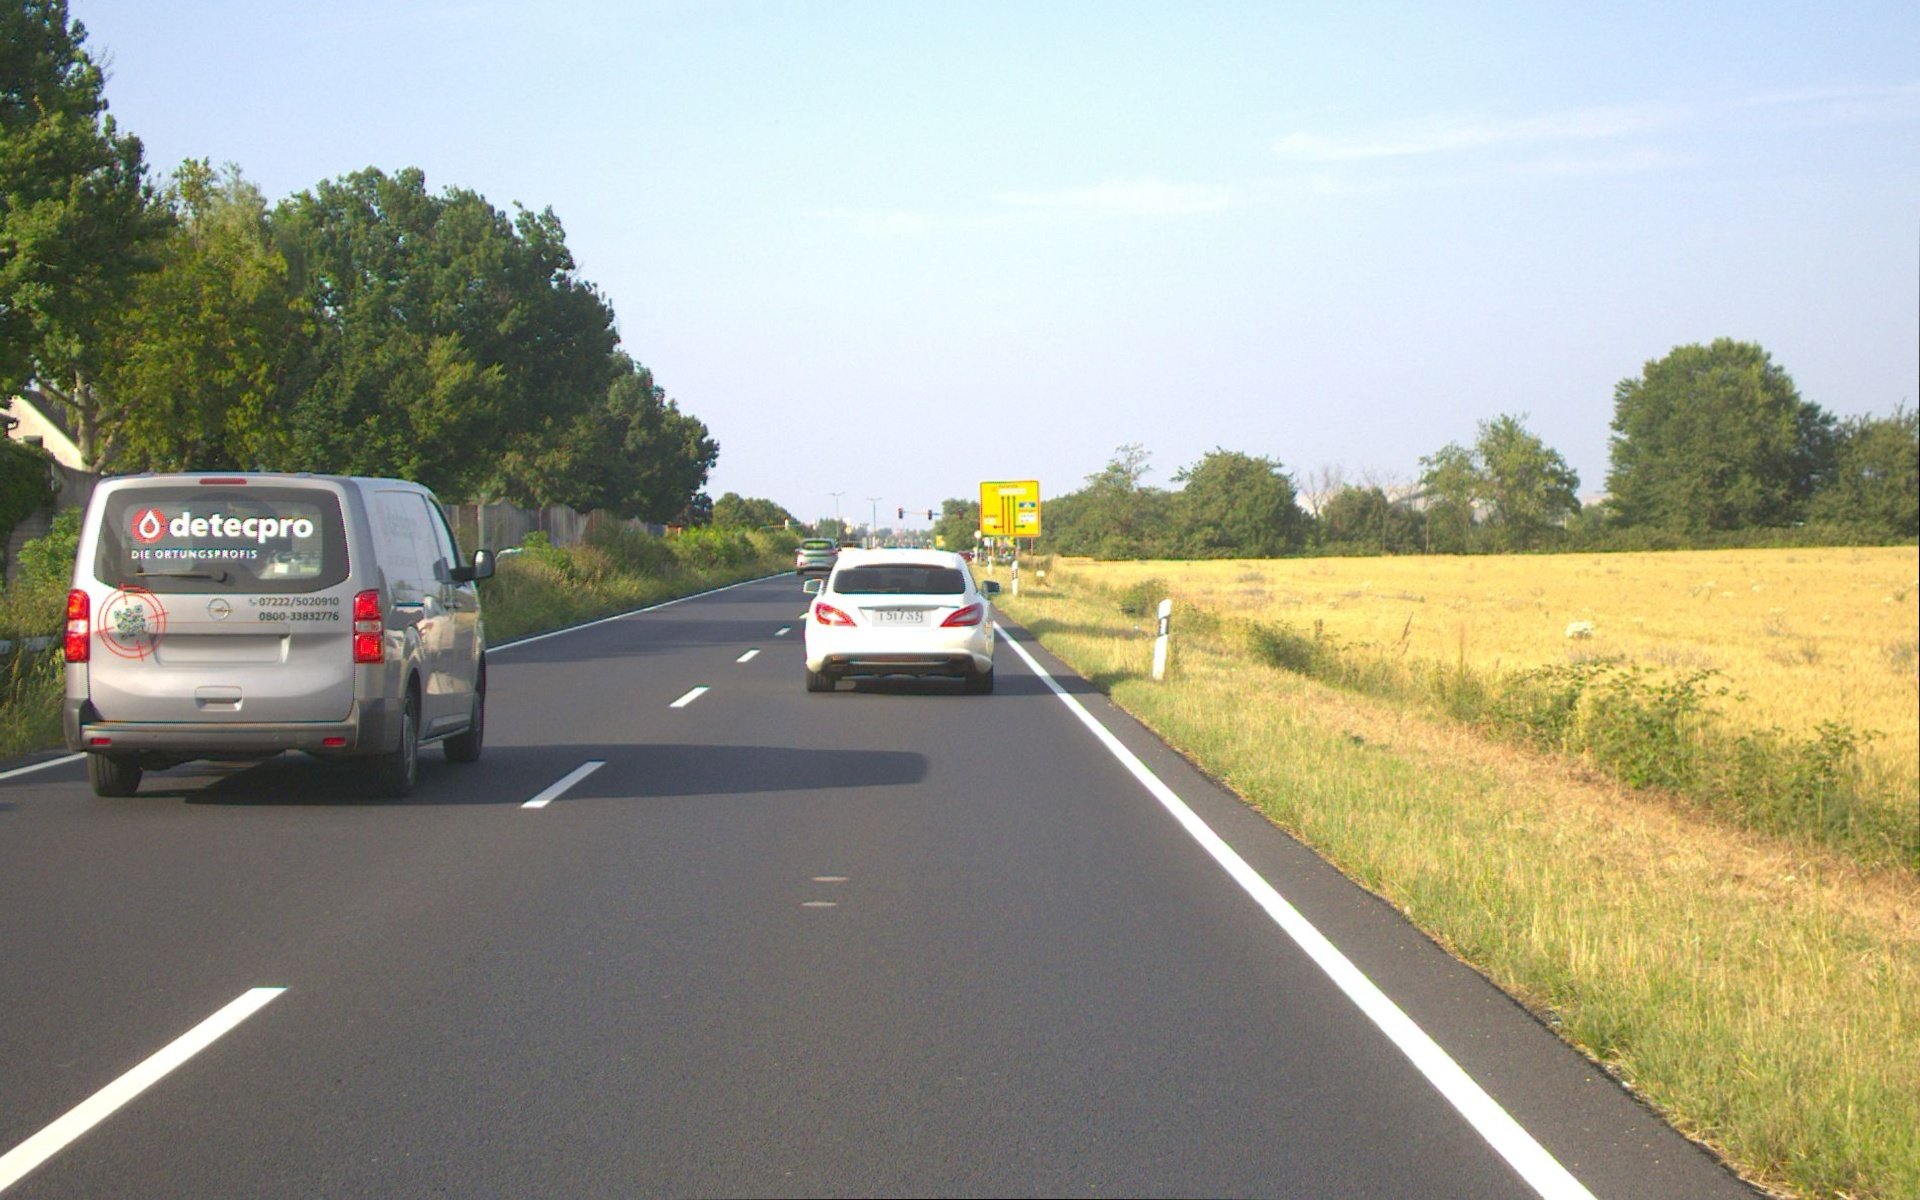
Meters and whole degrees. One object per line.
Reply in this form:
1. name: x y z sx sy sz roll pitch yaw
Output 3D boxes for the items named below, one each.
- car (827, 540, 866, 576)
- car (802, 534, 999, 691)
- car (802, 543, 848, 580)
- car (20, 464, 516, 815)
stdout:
1. car: -5.468 -2.024 165.751 1.877 1.645 3.664 1 1 -2
2. car: -0.600 0.101 35.051 1.894 1.503 4.000 0 1 -1
3. car: -5.470 -1.567 140.074 1.717 1.487 3.584 1 1 0
4. car: -4.094 0.166 21.228 2.025 1.885 4.958 1 1 0
